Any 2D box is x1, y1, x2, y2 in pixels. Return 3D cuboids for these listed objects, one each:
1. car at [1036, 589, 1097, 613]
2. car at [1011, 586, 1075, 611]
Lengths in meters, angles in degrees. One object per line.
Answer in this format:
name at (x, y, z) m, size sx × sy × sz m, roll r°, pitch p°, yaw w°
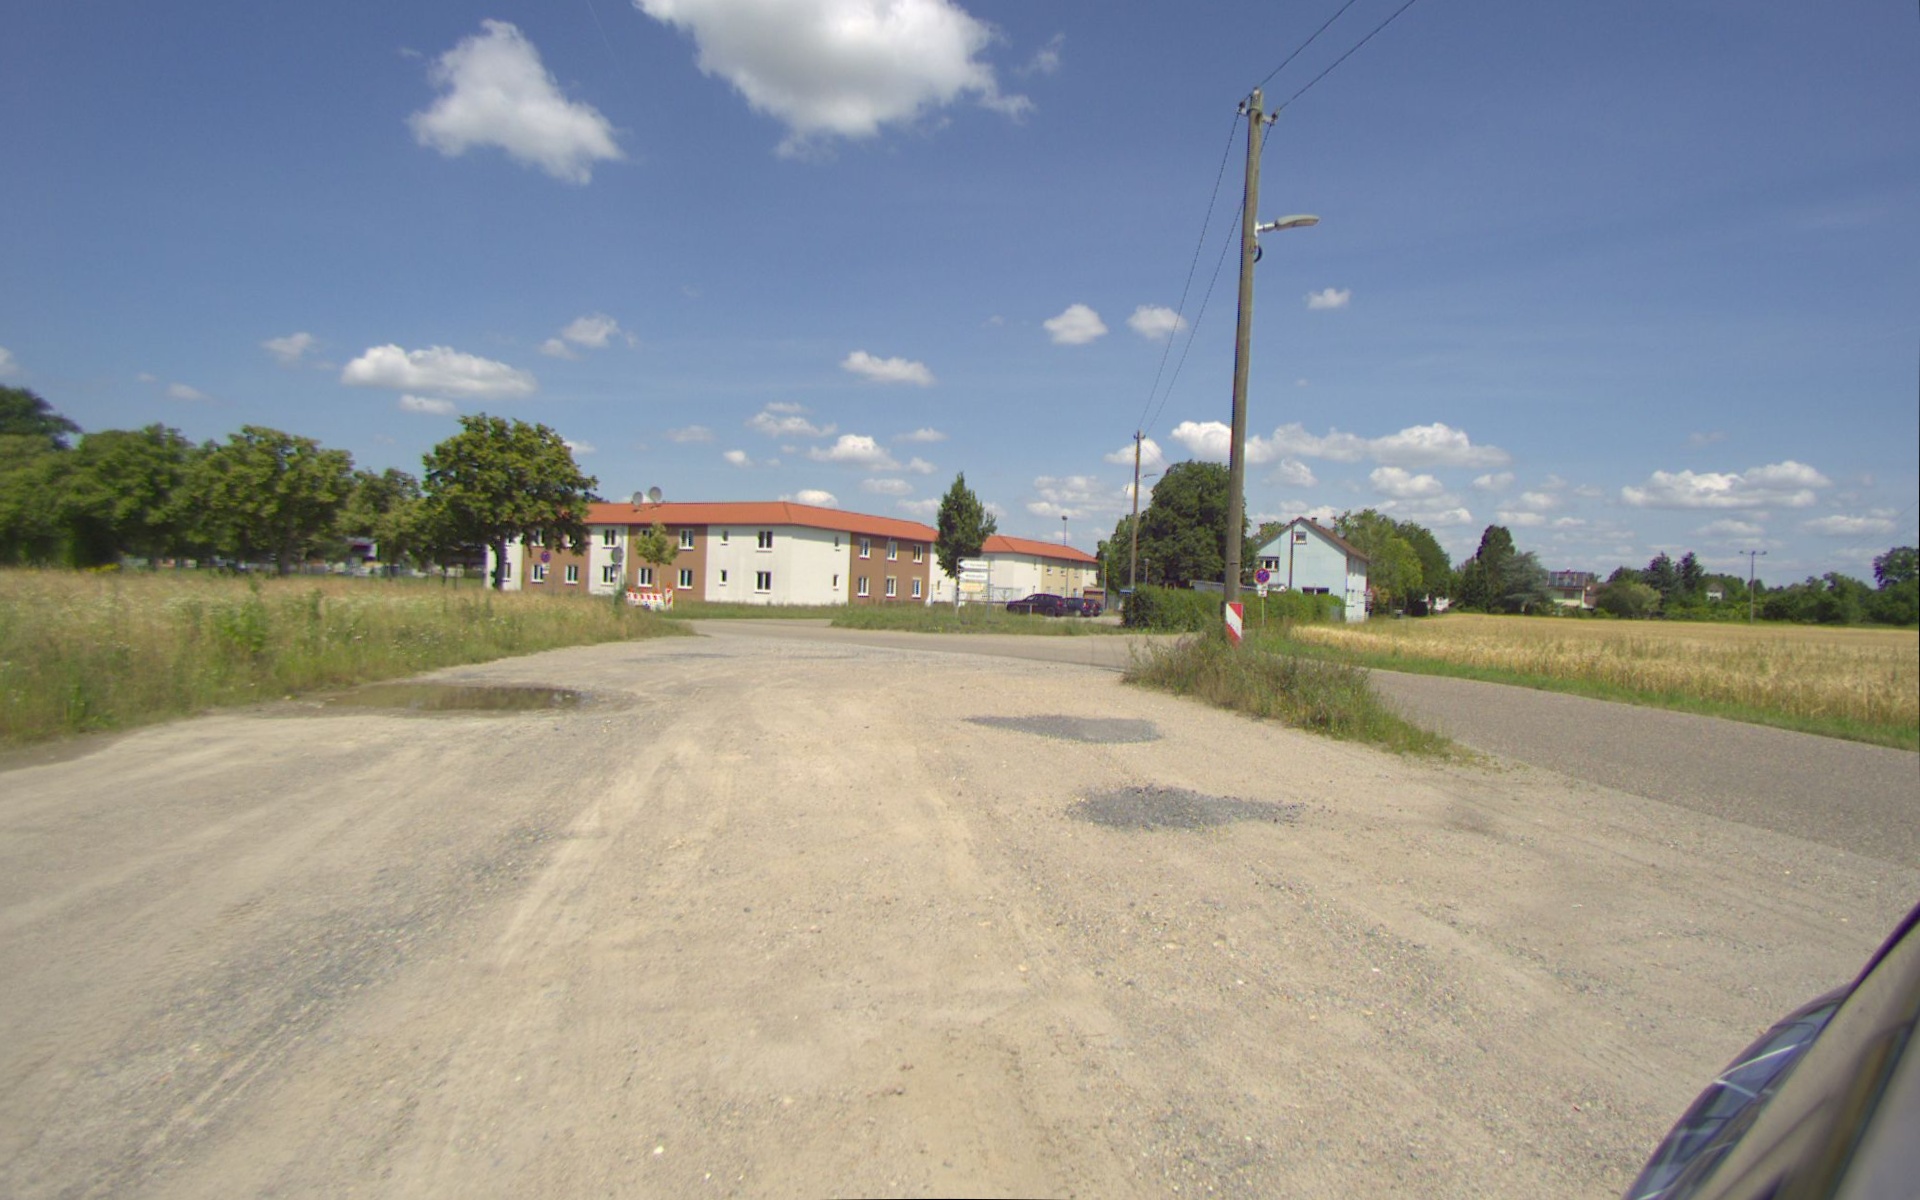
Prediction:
car at (8.046, 0.083, 76.412) m, size 4.110 × 1.635 × 1.980 m, roll 3°, pitch 0°, yaw 28°
car at (5.990, -0.094, 73.101) m, size 4.110 × 1.635 × 1.980 m, roll 3°, pitch 0°, yaw 28°
